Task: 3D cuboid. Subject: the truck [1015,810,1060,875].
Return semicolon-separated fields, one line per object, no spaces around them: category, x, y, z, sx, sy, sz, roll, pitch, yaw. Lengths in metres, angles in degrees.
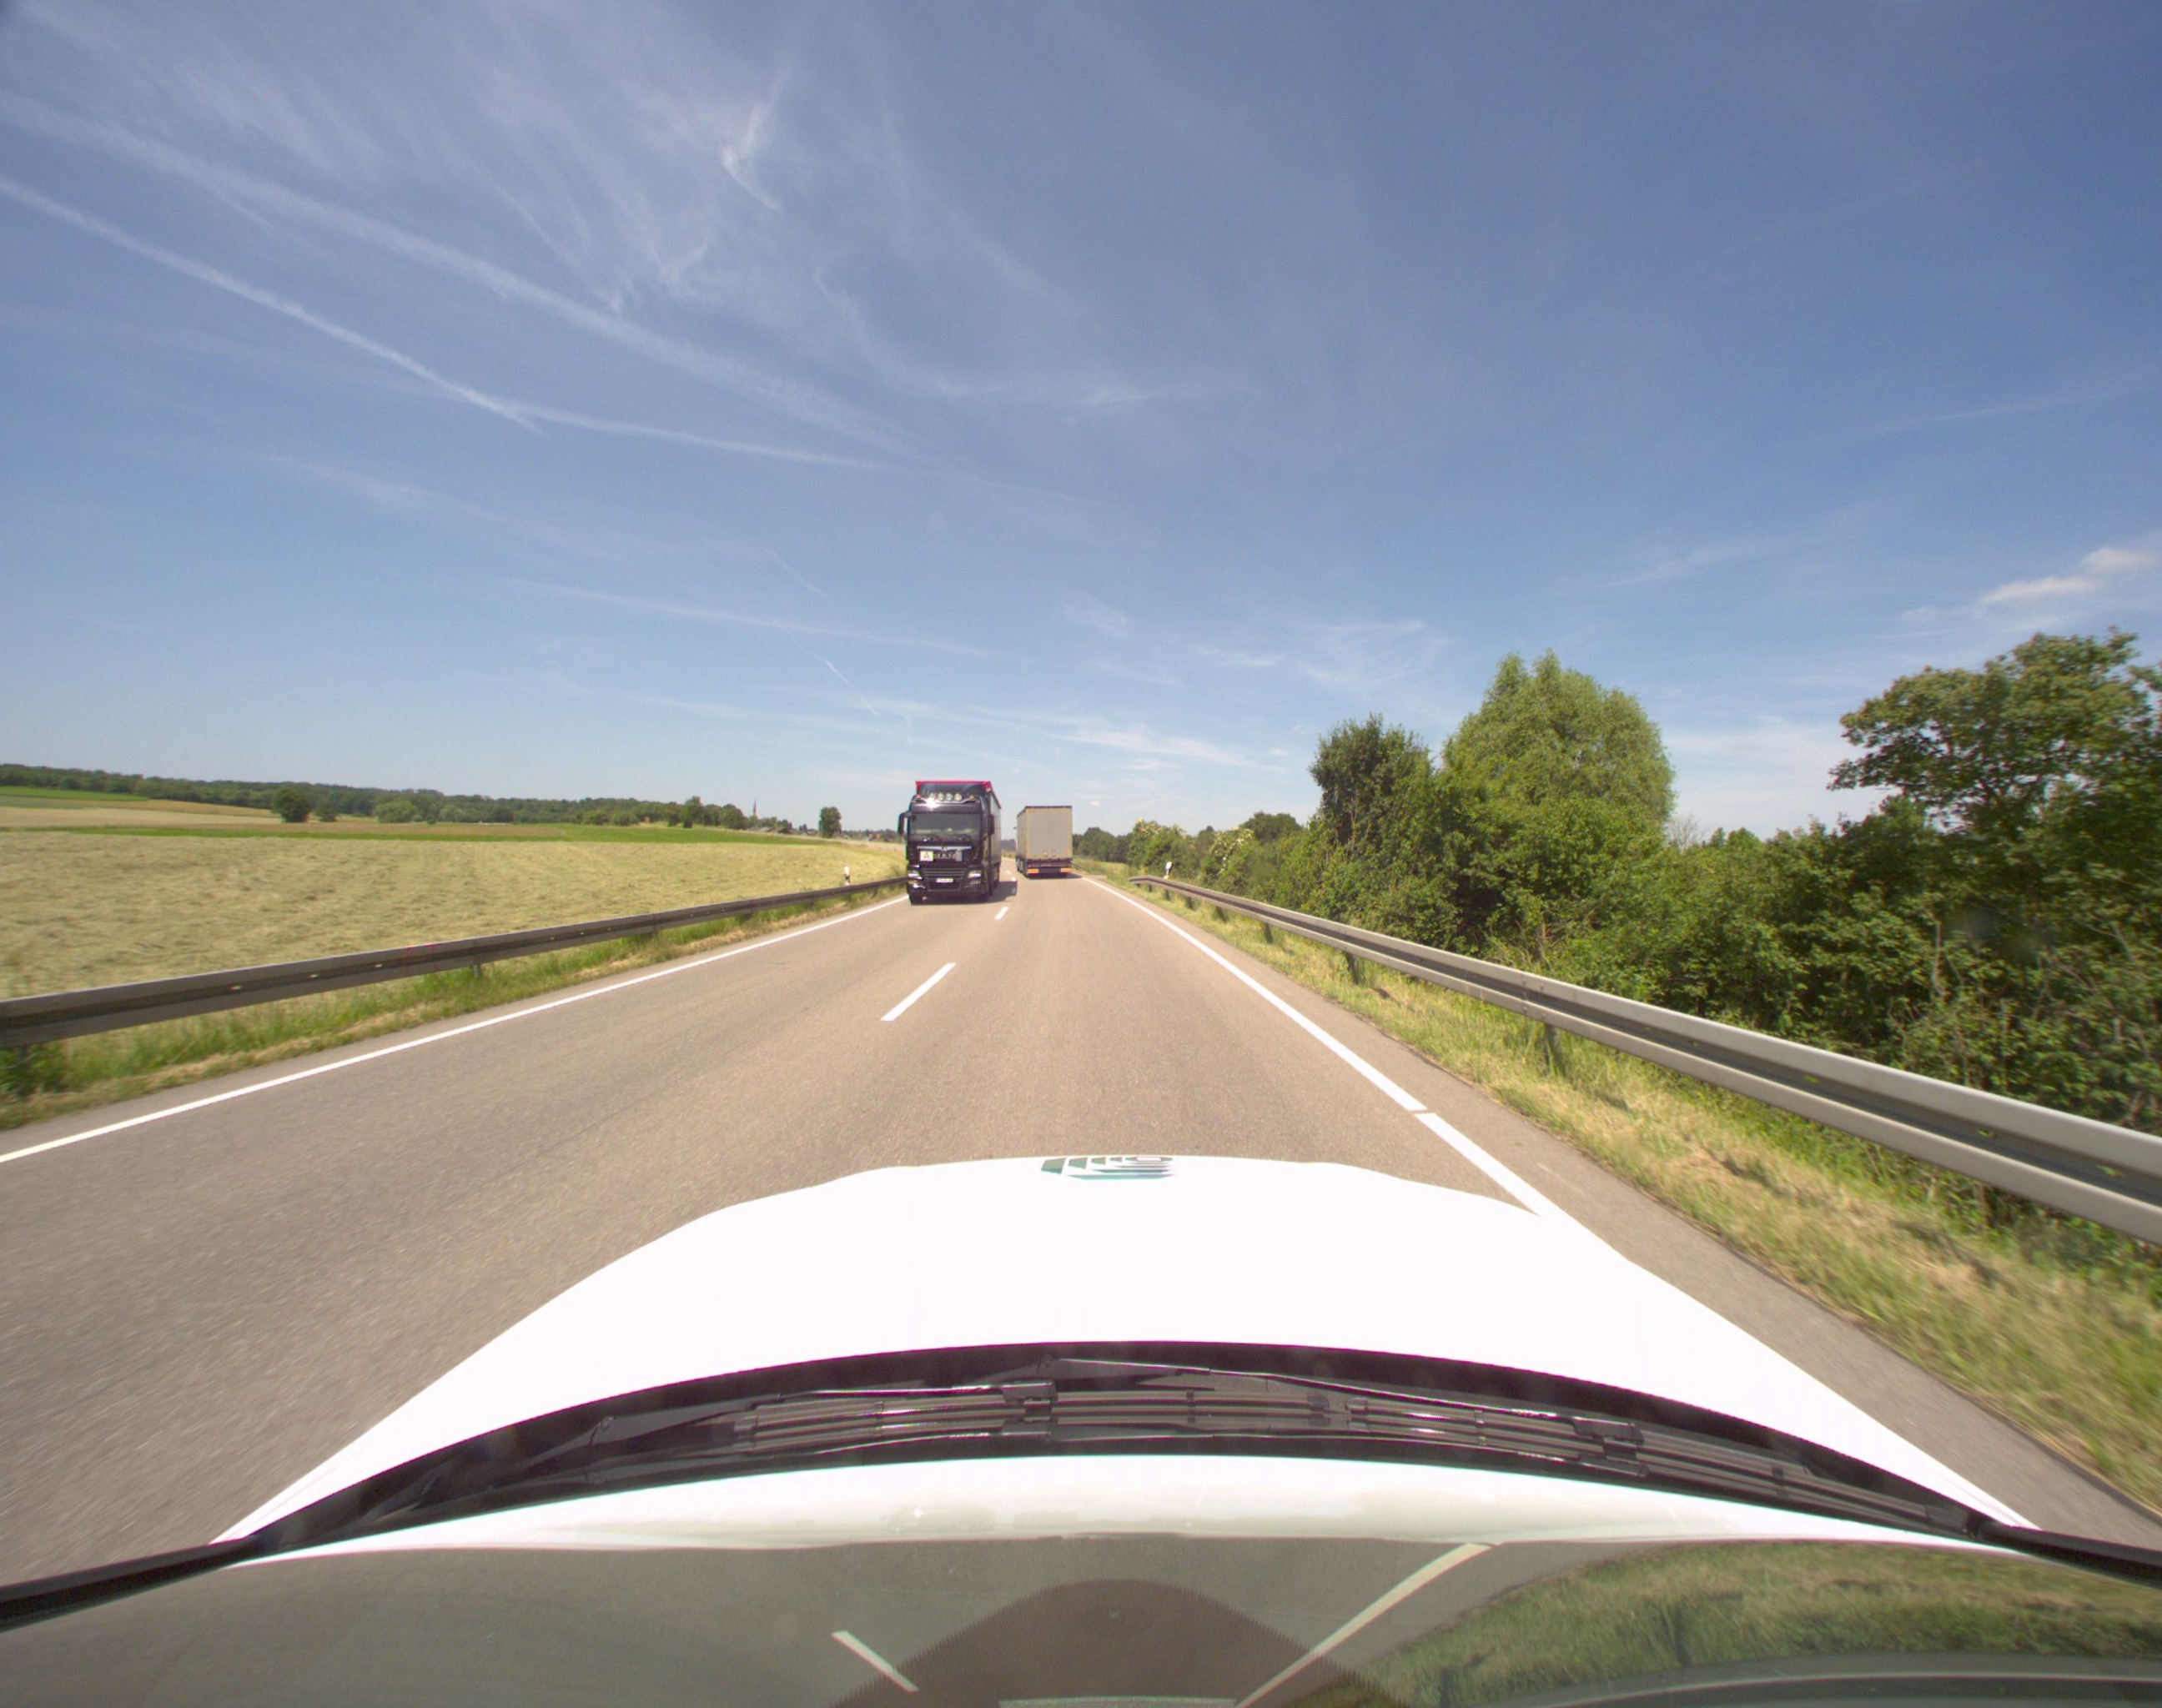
truck;-3.164;-0.770;57.590;2.856;4.400;5.060;-1;0;-6

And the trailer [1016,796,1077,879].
trailer;-2.400;-0.952;50.510;2.864;4.400;13.463;-1;1;-6

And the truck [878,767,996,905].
truck;-4.740;-0.562;28.227;3.235;4.150;6.642;-1;0;-4

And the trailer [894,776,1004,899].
trailer;-5.185;-0.630;35.004;3.235;4.149;14.424;-1;0;-4
